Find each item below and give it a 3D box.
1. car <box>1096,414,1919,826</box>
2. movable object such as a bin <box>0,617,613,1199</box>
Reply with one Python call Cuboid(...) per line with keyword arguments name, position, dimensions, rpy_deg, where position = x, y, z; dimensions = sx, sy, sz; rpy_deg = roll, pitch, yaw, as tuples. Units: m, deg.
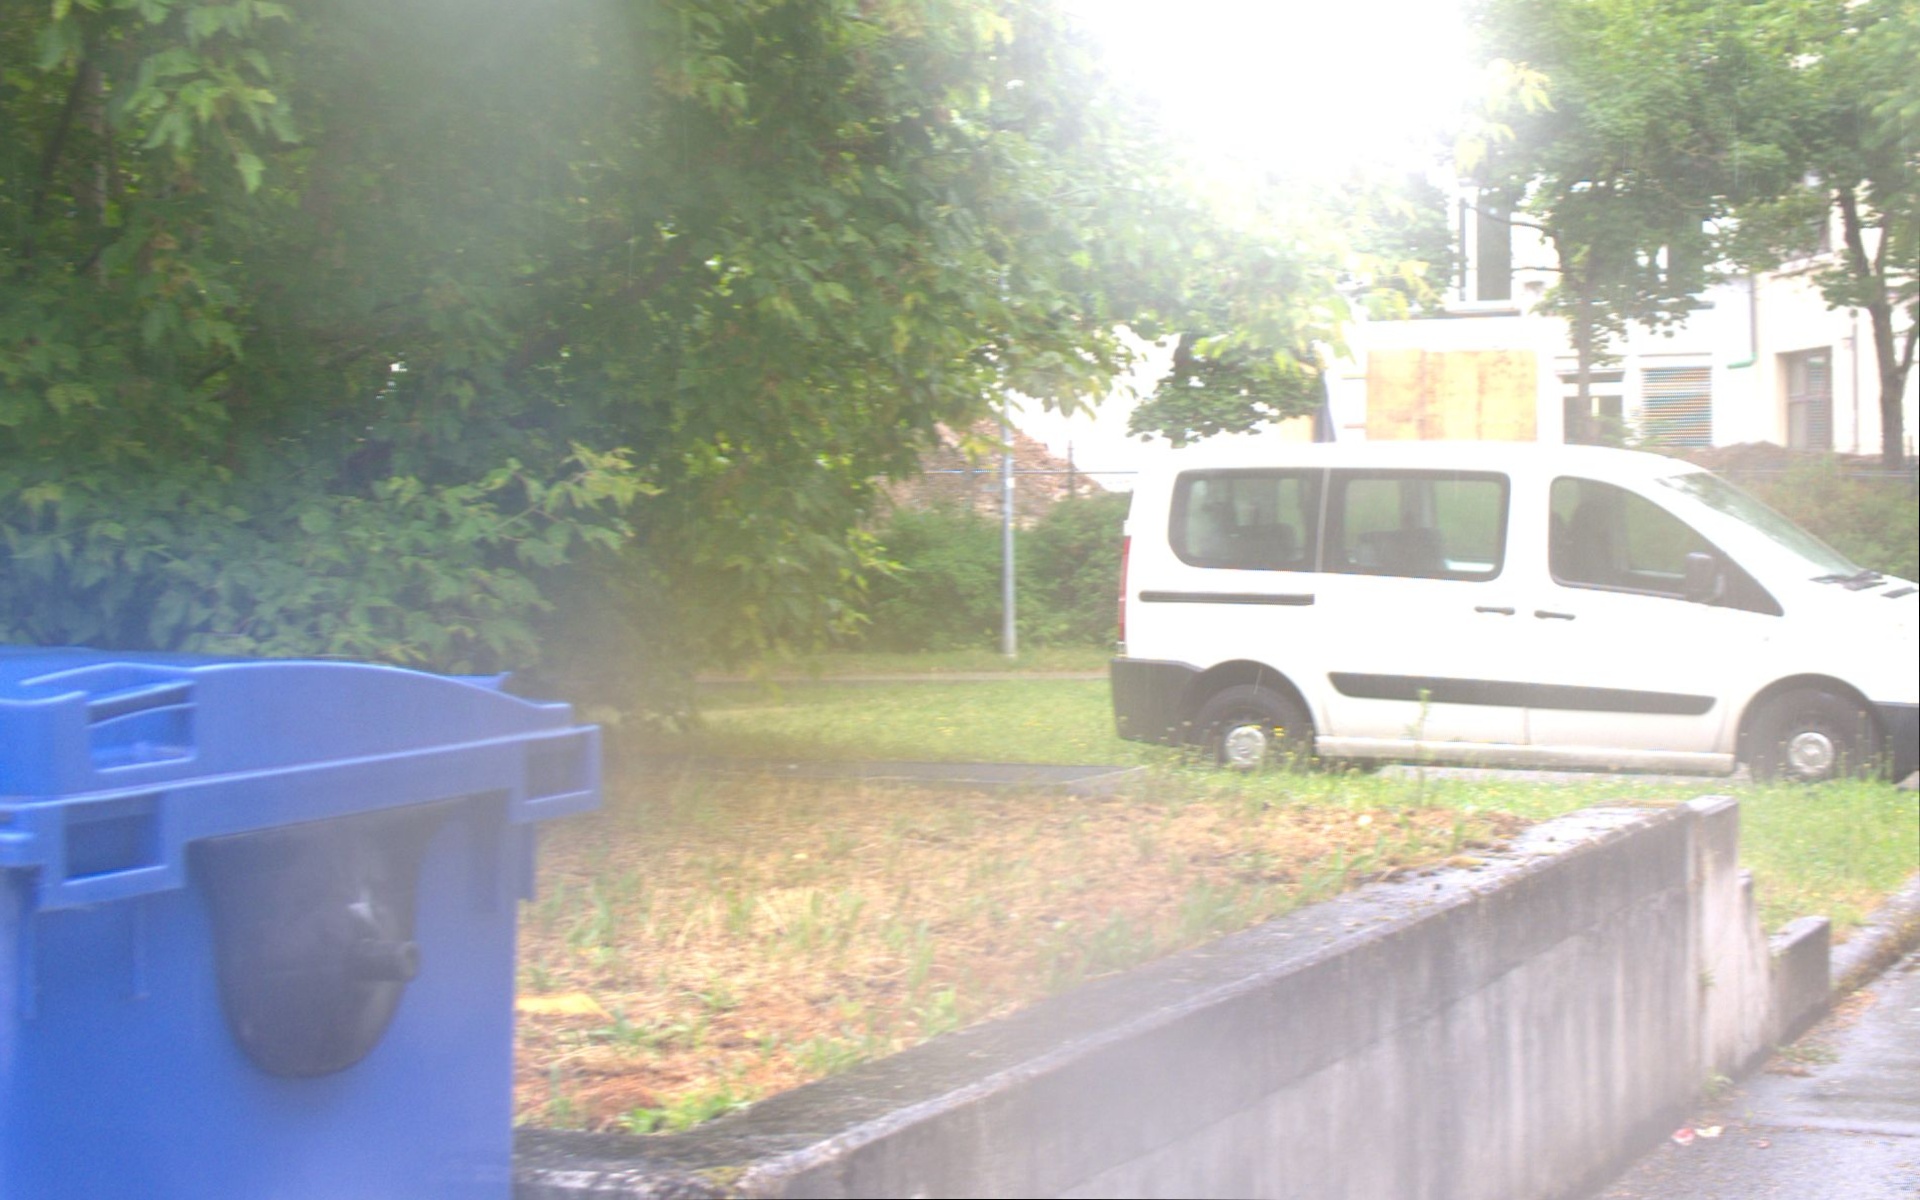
Cuboid(name="car", position=(3.342, 0.083, 18.457), dimensions=(4.786, 2.006, 1.998), rpy_deg=(-1, 2, 25))
Cuboid(name="movable object such as a bin", position=(-1.143, 0.704, 3.563), dimensions=(1.223, 1.332, 1.005), rpy_deg=(0, 2, 24))
